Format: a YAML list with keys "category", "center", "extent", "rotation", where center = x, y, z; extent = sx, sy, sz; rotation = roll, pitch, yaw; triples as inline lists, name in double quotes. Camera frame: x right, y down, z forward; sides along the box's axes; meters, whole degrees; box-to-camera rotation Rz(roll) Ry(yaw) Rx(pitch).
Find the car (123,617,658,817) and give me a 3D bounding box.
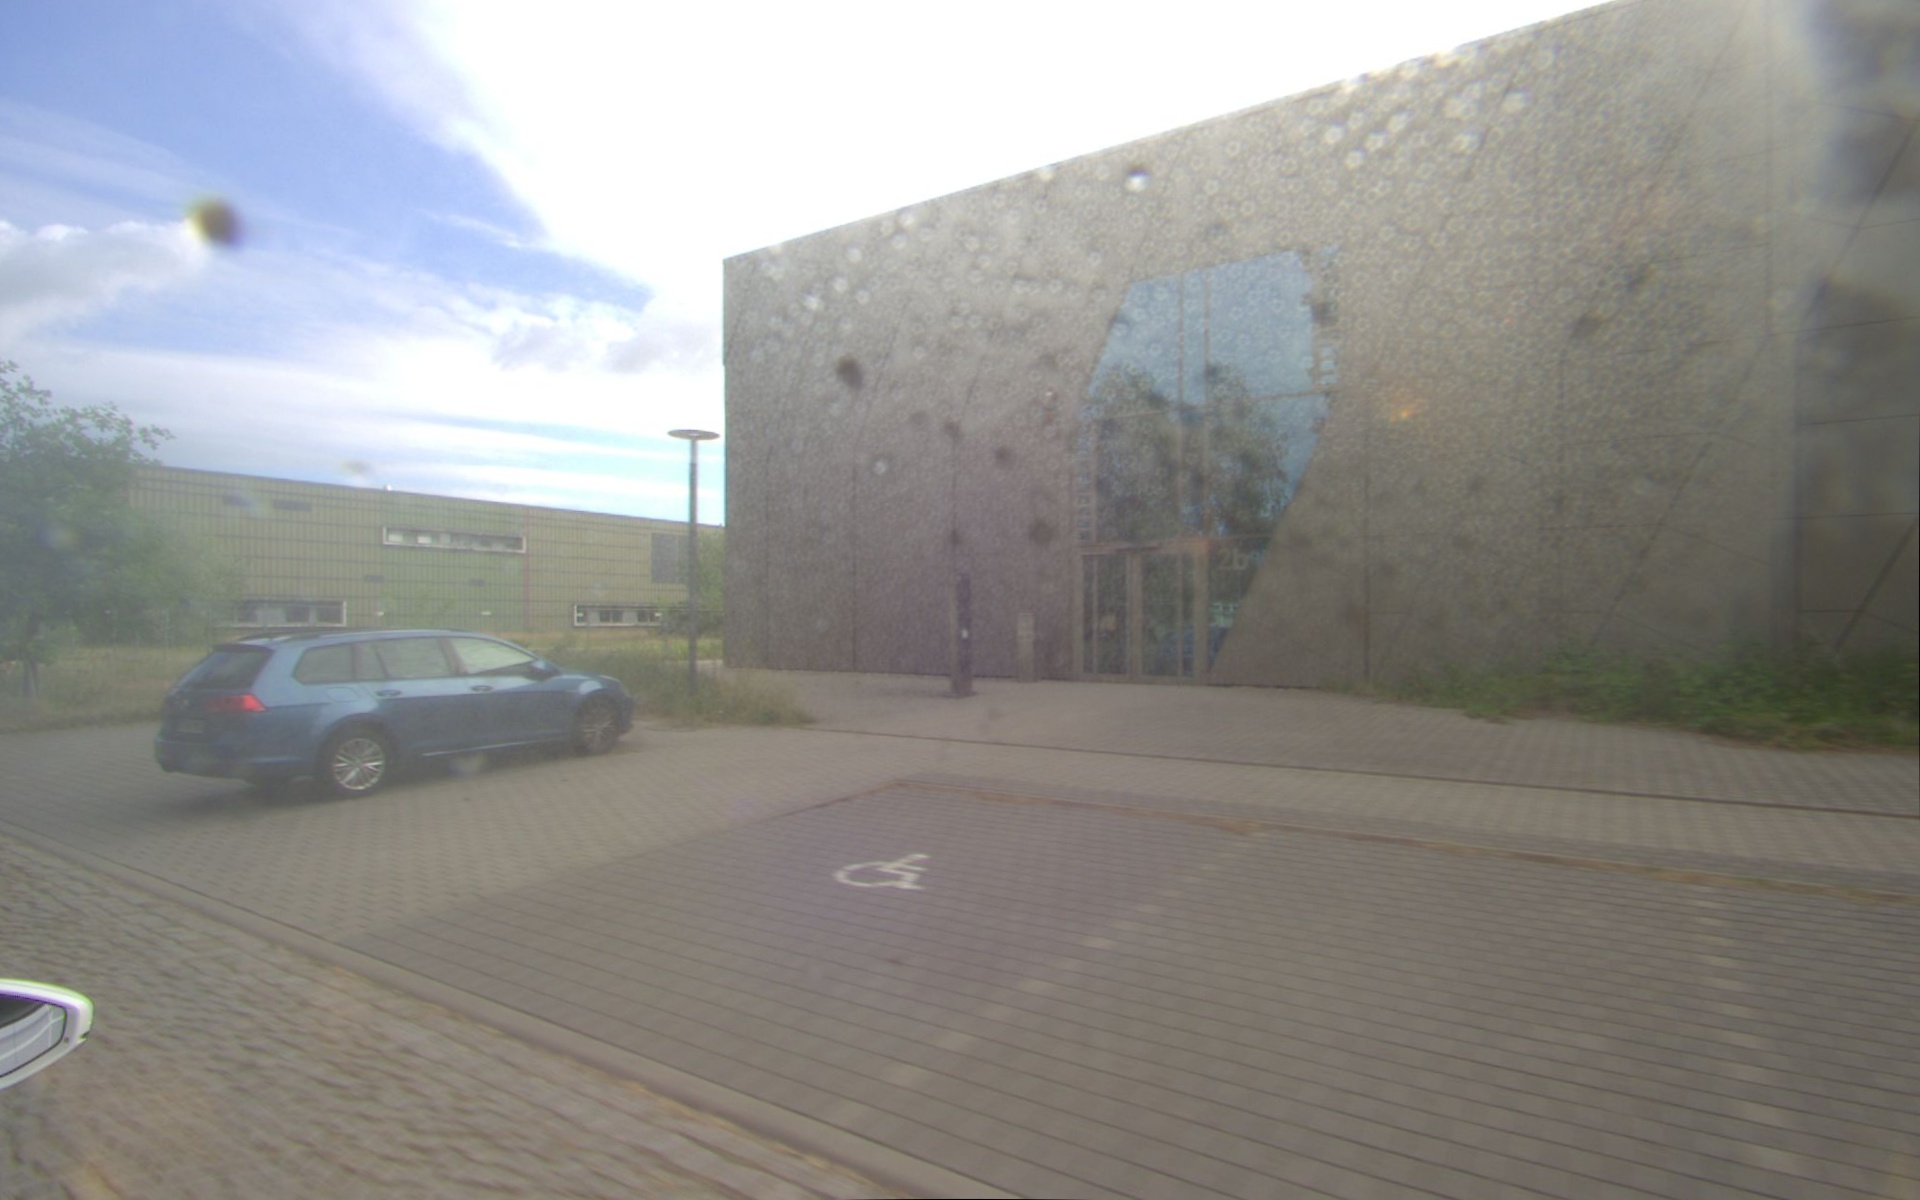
- category: "car"
  center: [-5.477, 0.967, 10.347]
  extent: [1.796, 1.463, 4.514]
  rotation: [0, 1, 30]
